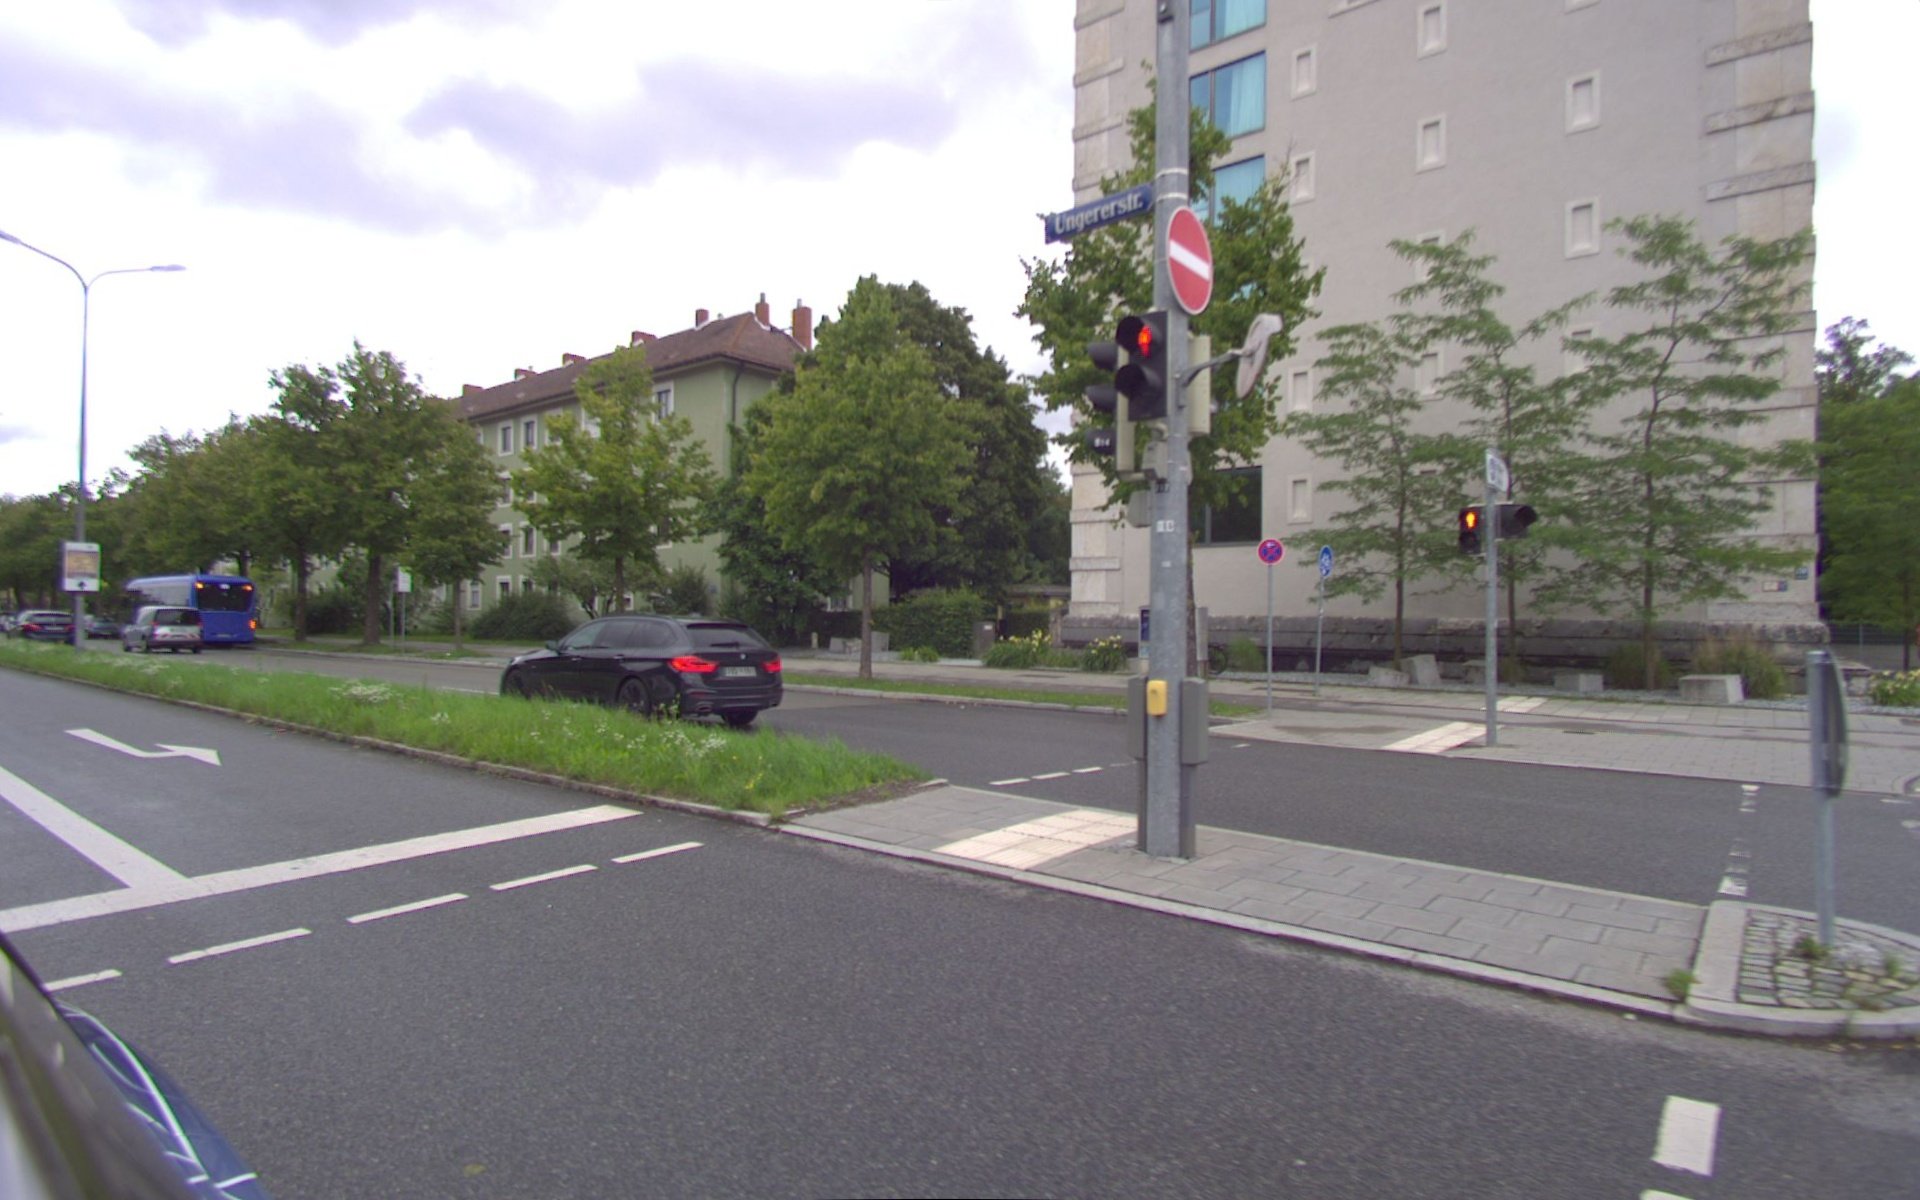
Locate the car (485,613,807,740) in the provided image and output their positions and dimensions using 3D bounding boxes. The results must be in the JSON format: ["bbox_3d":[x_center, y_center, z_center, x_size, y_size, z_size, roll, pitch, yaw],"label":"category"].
[{"bbox_3d":[-4.494,0.953,14.079,4.894,1.473,1.907,-1,-3,40],"label":"car"}]

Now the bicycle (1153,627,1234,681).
[{"bbox_3d":[5.449,1.237,23.689,1.825,1.190,0.539,-1,-1,40],"label":"bicycle"}]

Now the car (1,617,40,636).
[{"bbox_3d":[-74.720,2.078,80.489,3.907,1.473,1.833,-1,0,41],"label":"car"}]

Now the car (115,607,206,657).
[{"bbox_3d":[-31.467,1.246,39.784,4.425,1.825,1.762,-1,-5,39],"label":"car"}]

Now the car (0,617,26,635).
[{"bbox_3d":[-79.307,2.139,84.286,3.907,1.473,1.833,-1,0,41],"label":"car"}]

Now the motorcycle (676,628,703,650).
[{"bbox_3d":[-11.152,1.616,41.719,1.233,0.889,0.429,-1,-1,40],"label":"motorcycle"}]

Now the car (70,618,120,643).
[{"bbox_3d":[-54.050,1.895,63.234,3.907,1.473,1.833,-1,0,41],"label":"car"}]

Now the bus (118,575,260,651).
[{"bbox_3d":[-37.731,0.672,49.272,12.037,3.369,2.718,-1,-3,40],"label":"bus"}]

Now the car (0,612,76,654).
[{"bbox_3d":[-37.024,1.280,40.567,4.286,1.582,1.681,-1,-1,39],"label":"car"}]
